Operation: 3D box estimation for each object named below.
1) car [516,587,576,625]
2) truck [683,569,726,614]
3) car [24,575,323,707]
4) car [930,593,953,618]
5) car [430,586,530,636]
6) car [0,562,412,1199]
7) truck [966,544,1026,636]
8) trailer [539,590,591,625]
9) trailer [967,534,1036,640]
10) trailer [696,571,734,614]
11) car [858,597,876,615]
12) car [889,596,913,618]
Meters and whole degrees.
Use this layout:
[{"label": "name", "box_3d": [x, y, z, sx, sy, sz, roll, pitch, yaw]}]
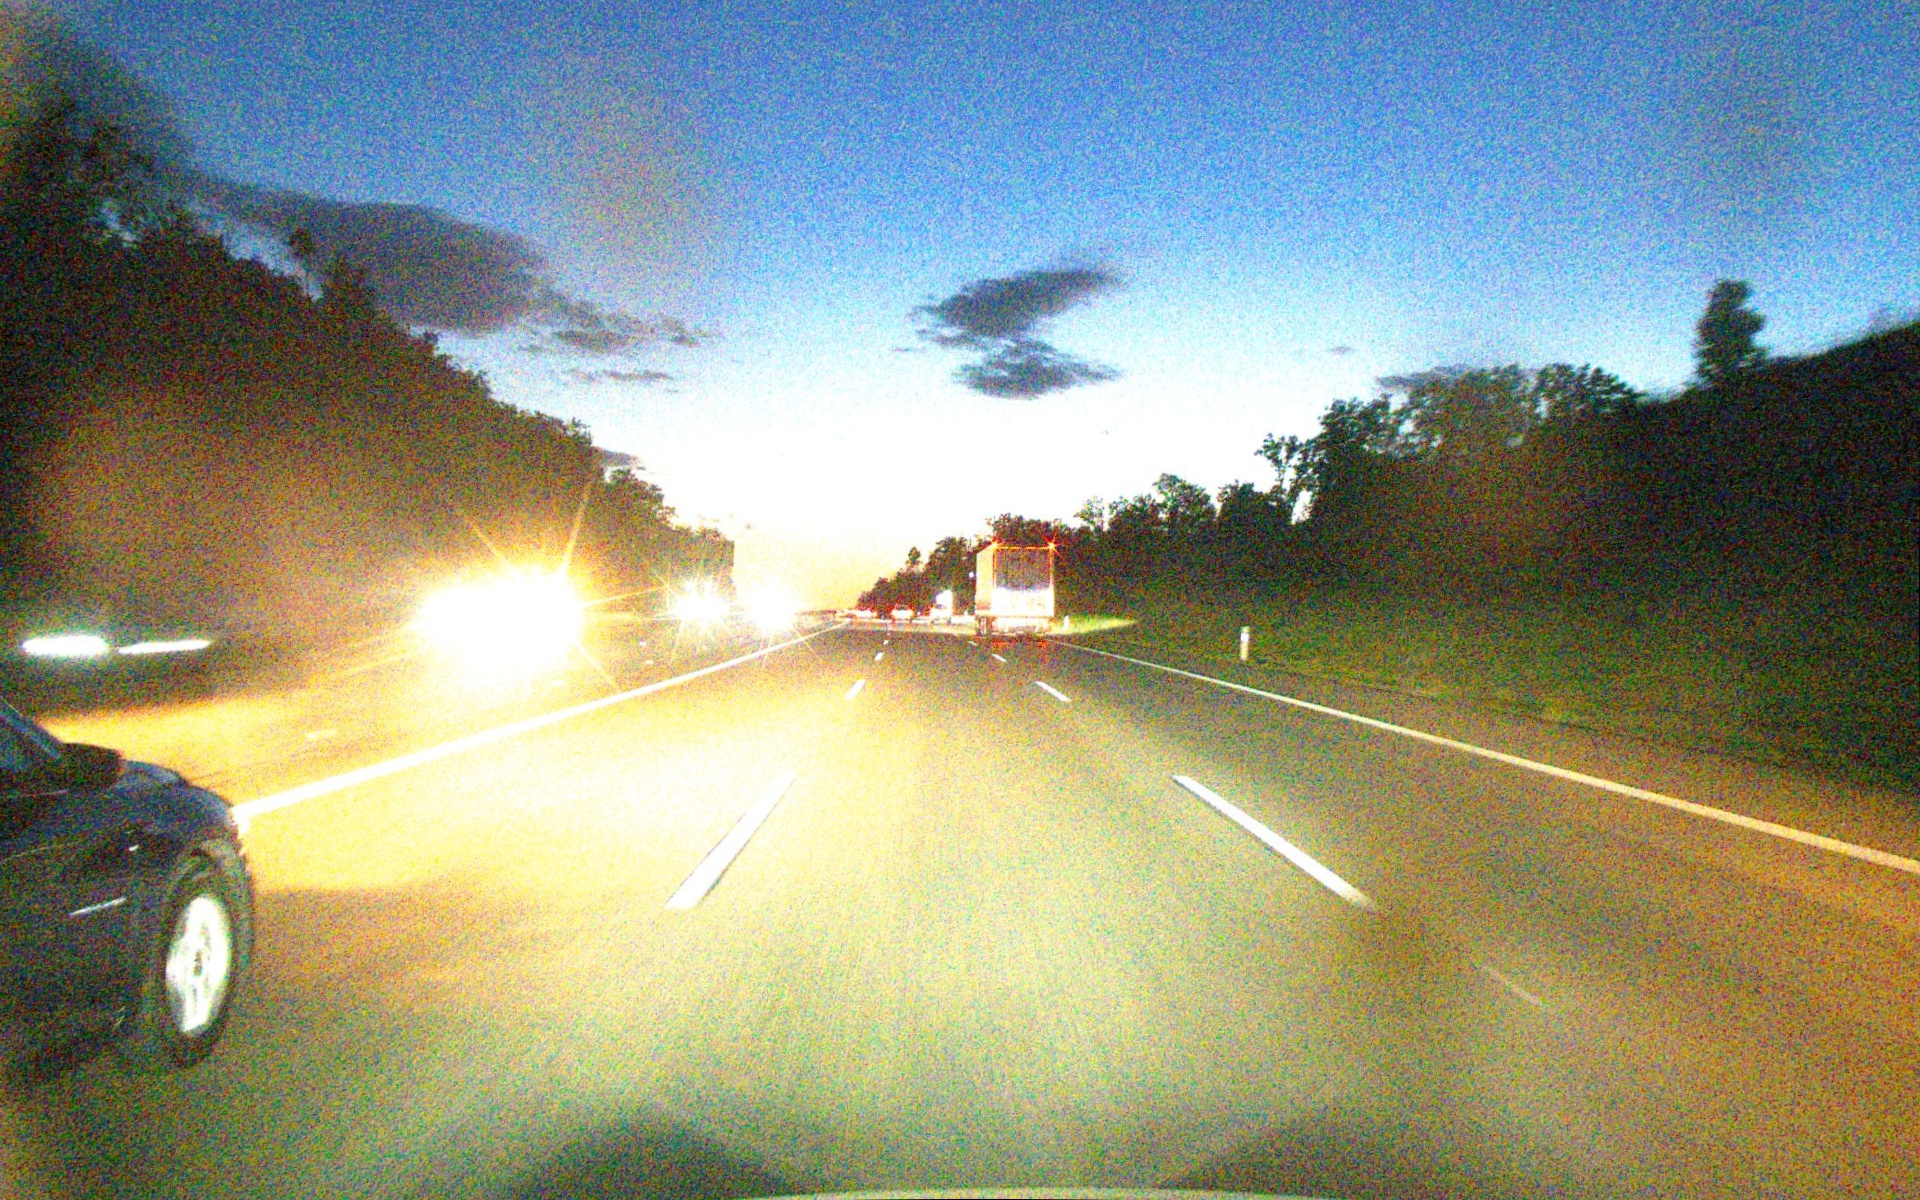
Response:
[{"label": "car", "box_3d": [-20.675, 0.292, 82.756, 1.875, 1.777, 4.879, 1, 0, -2]}, {"label": "truck", "box_3d": [-24.272, -0.750, 157.571, 2.803, 4.143, 10.629, 1, 0, -3]}, {"label": "car", "box_3d": [-11.541, 0.552, 24.734, 2.199, 1.749, 4.886, 1, 0, -1]}, {"label": "car", "box_3d": [-1.758, 0.515, 154.199, 1.954, 2.154, 3.997, 1, -2, -3]}, {"label": "car", "box_3d": [-16.486, 0.375, 57.081, 2.199, 1.625, 4.885, 1, 0, -3]}, {"label": "car", "box_3d": [-3.227, 0.689, 3.878, 1.953, 1.545, 5.651, 1, 1, 0]}, {"label": "truck", "box_3d": [1.737, -0.470, 81.958, 2.771, 4.331, 6.262, 1, 0, 0]}, {"label": "trailer", "box_3d": [-20.785, 0.402, 87.115, 1.858, 1.777, 3.843, 1, 0, -2]}, {"label": "trailer", "box_3d": [1.738, -0.498, 76.588, 2.771, 4.331, 17.047, 1, 0, 0]}, {"label": "trailer", "box_3d": [-24.743, -0.719, 167.327, 2.803, 4.143, 8.866, 1, 0, -3]}, {"label": "car", "box_3d": [-10.475, 0.667, 185.664, 1.954, 1.825, 3.997, 1, -2, -3]}, {"label": "car", "box_3d": [-5.168, 0.633, 145.324, 1.953, 1.825, 3.998, 1, -2, -1]}]
